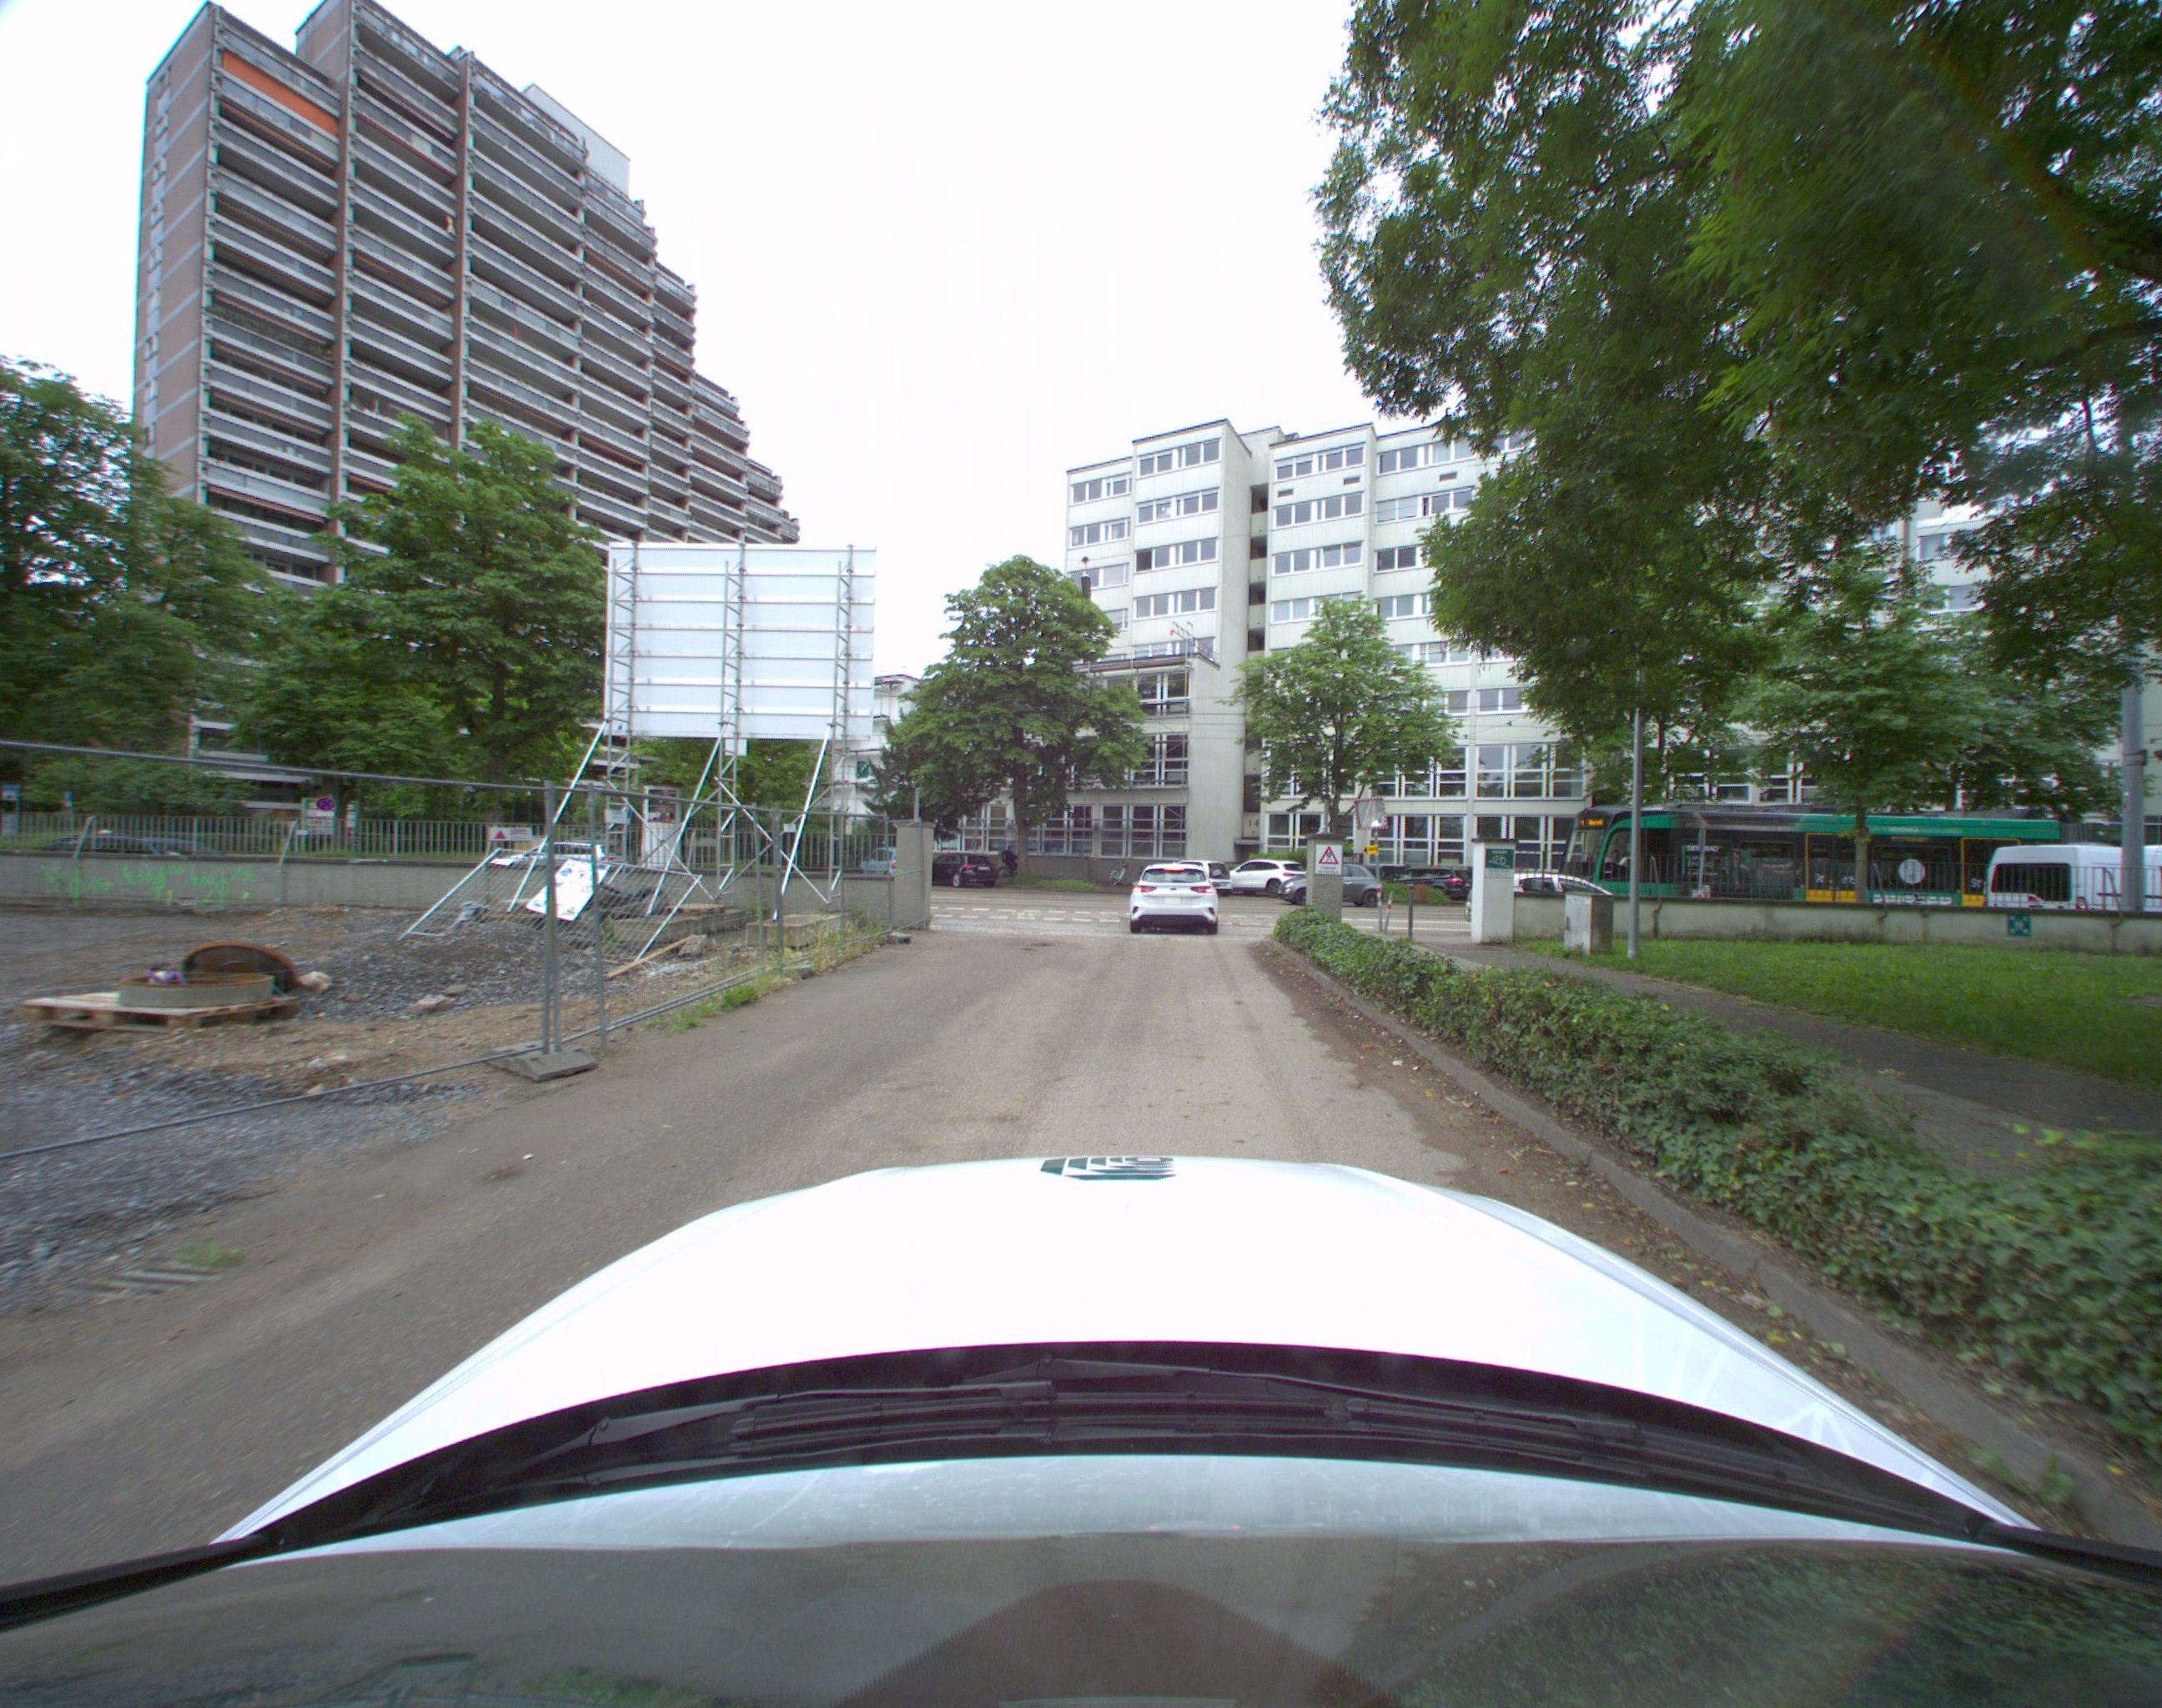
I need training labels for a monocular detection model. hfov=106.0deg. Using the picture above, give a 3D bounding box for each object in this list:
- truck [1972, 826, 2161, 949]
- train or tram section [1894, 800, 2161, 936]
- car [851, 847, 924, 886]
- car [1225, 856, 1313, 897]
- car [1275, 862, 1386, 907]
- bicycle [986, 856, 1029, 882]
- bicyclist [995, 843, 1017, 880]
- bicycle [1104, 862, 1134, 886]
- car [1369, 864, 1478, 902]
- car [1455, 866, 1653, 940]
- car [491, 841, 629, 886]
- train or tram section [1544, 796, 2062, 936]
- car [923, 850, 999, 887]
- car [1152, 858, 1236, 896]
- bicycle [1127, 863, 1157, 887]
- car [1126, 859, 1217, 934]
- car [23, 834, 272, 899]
[{"bbox_3d":[23.467,0.735,18.073,4.891,2.546,2.171,1,0,3],"label":"truck"},{"bbox_3d":[30.936,0.446,23.247,12.365,3.614,2.670,1,0,3],"label":"train or tram section"},{"bbox_3d":[-8.225,0.510,34.438,1.627,1.537,3.297,1,0,-41],"label":"car"},{"bbox_3d":[7.924,0.923,34.497,1.564,1.618,3.369,1,-1,-38],"label":"car"},{"bbox_3d":[8.592,1.032,28.183,3.406,1.420,1.522,1,0,2],"label":"car"},{"bbox_3d":[-3.439,0.709,38.346,1.901,1.174,0.822,1,0,2],"label":"bicycle"},{"bbox_3d":[-3.508,0.358,38.351,0.891,1.698,0.834,1,0,2],"label":"bicyclist"},{"bbox_3d":[1.914,0.971,40.945,0.638,1.074,2.326,1,2,26],"label":"bicycle"},{"bbox_3d":[14.474,1.195,34.502,1.683,1.474,3.906,1,-1,-44],"label":"car"},{"bbox_3d":[10.792,1.090,18.768,3.566,1.501,1.667,1,0,3],"label":"car"},{"bbox_3d":[-19.064,0.342,29.896,3.970,1.519,1.733,1,0,3],"label":"car"},{"bbox_3d":[20.484,0.297,23.676,12.365,3.614,2.670,1,0,3],"label":"train or tram section"},{"bbox_3d":[-5.111,0.581,34.507,1.627,1.511,3.297,1,-1,-41],"label":"car"},{"bbox_3d":[4.719,0.938,34.309,1.564,1.473,3.369,1,-1,-38],"label":"car"},{"bbox_3d":[3.047,1.020,40.376,0.638,1.074,2.326,1,2,26],"label":"bicycle"},{"bbox_3d":[2.064,0.908,17.917,1.765,1.433,3.987,0,-3,9],"label":"car"},{"bbox_3d":[-22.469,0.291,19.710,3.971,1.418,1.834,1,0,2],"label":"car"}]
